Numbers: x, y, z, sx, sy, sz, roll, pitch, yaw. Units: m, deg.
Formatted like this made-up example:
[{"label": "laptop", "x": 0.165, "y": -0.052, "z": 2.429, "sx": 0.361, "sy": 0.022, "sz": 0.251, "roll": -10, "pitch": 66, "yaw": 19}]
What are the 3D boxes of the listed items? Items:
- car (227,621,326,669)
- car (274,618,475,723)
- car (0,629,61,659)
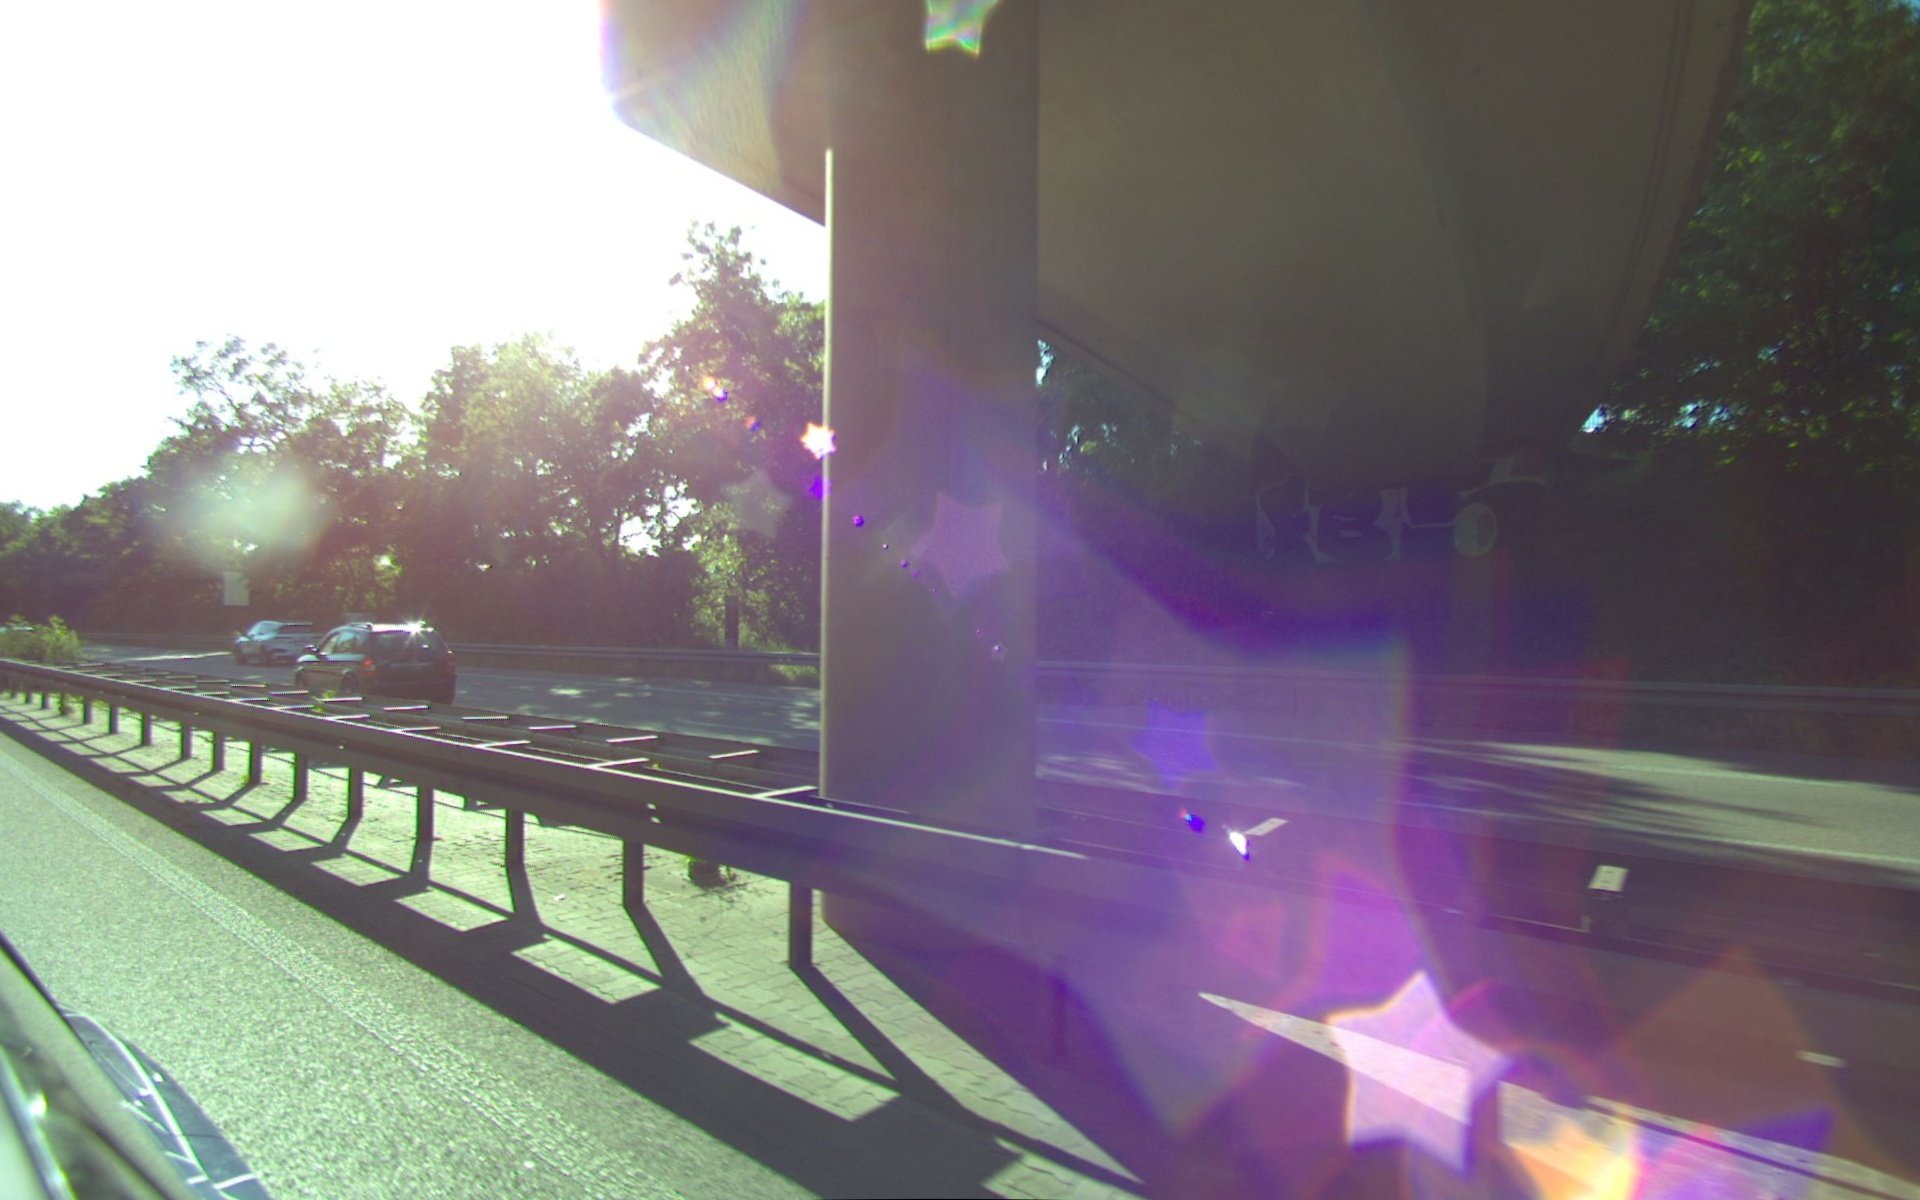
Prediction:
[{"label": "car", "x": -26.148, "y": 1.669, "z": 38.644, "sx": 5.038, "sy": 1.672, "sz": 1.940, "roll": -1, "pitch": 0, "yaw": 42}, {"label": "car", "x": -11.498, "y": 1.279, "z": 19.746, "sx": 4.589, "sy": 1.737, "sz": 1.941, "roll": -1, "pitch": 1, "yaw": 41}, {"label": "car", "x": -49.640, "y": 2.311, "z": 54.013, "sx": 4.781, "sy": 1.500, "sz": 1.833, "roll": -1, "pitch": 0, "yaw": 40}]
